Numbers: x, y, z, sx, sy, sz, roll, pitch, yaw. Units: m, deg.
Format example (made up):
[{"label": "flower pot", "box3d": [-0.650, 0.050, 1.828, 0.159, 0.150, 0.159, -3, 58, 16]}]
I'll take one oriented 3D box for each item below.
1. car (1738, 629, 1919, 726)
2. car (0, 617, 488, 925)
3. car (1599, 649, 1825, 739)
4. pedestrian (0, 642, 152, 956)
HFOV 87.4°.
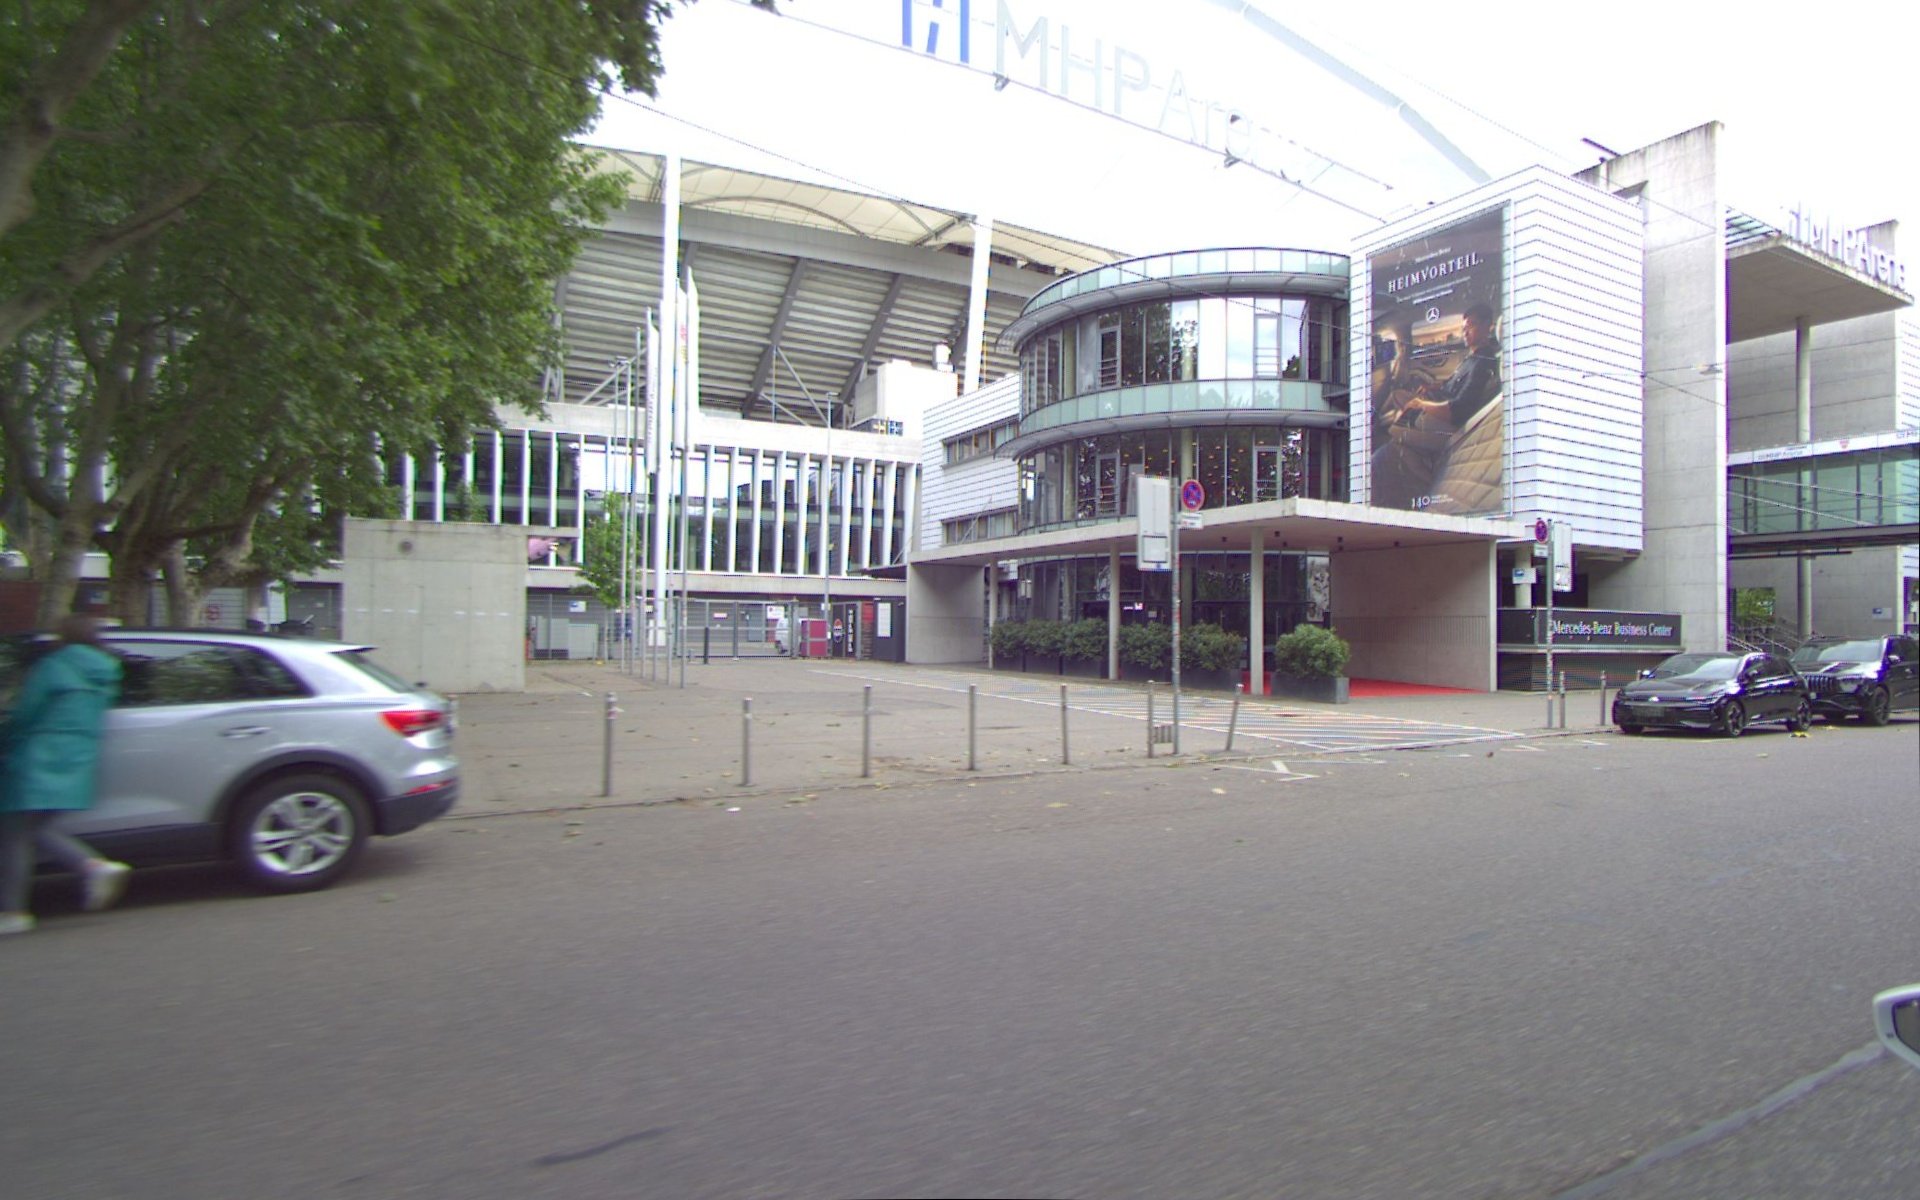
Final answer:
[{"label": "car", "box3d": [18.593, 1.564, 20.918, 4.850, 1.812, 2.026, 1, -5, -30]}, {"label": "car", "box3d": [-5.515, 0.901, 6.045, 4.700, 1.583, 2.064, 1, -2, -30]}, {"label": "car", "box3d": [13.667, 1.650, 18.207, 4.273, 1.438, 1.697, 1, -4, -30]}, {"label": "pedestrian", "box3d": [-4.588, 0.968, 5.141, 0.560, 1.486, 0.582, 1, 0, -26]}]
